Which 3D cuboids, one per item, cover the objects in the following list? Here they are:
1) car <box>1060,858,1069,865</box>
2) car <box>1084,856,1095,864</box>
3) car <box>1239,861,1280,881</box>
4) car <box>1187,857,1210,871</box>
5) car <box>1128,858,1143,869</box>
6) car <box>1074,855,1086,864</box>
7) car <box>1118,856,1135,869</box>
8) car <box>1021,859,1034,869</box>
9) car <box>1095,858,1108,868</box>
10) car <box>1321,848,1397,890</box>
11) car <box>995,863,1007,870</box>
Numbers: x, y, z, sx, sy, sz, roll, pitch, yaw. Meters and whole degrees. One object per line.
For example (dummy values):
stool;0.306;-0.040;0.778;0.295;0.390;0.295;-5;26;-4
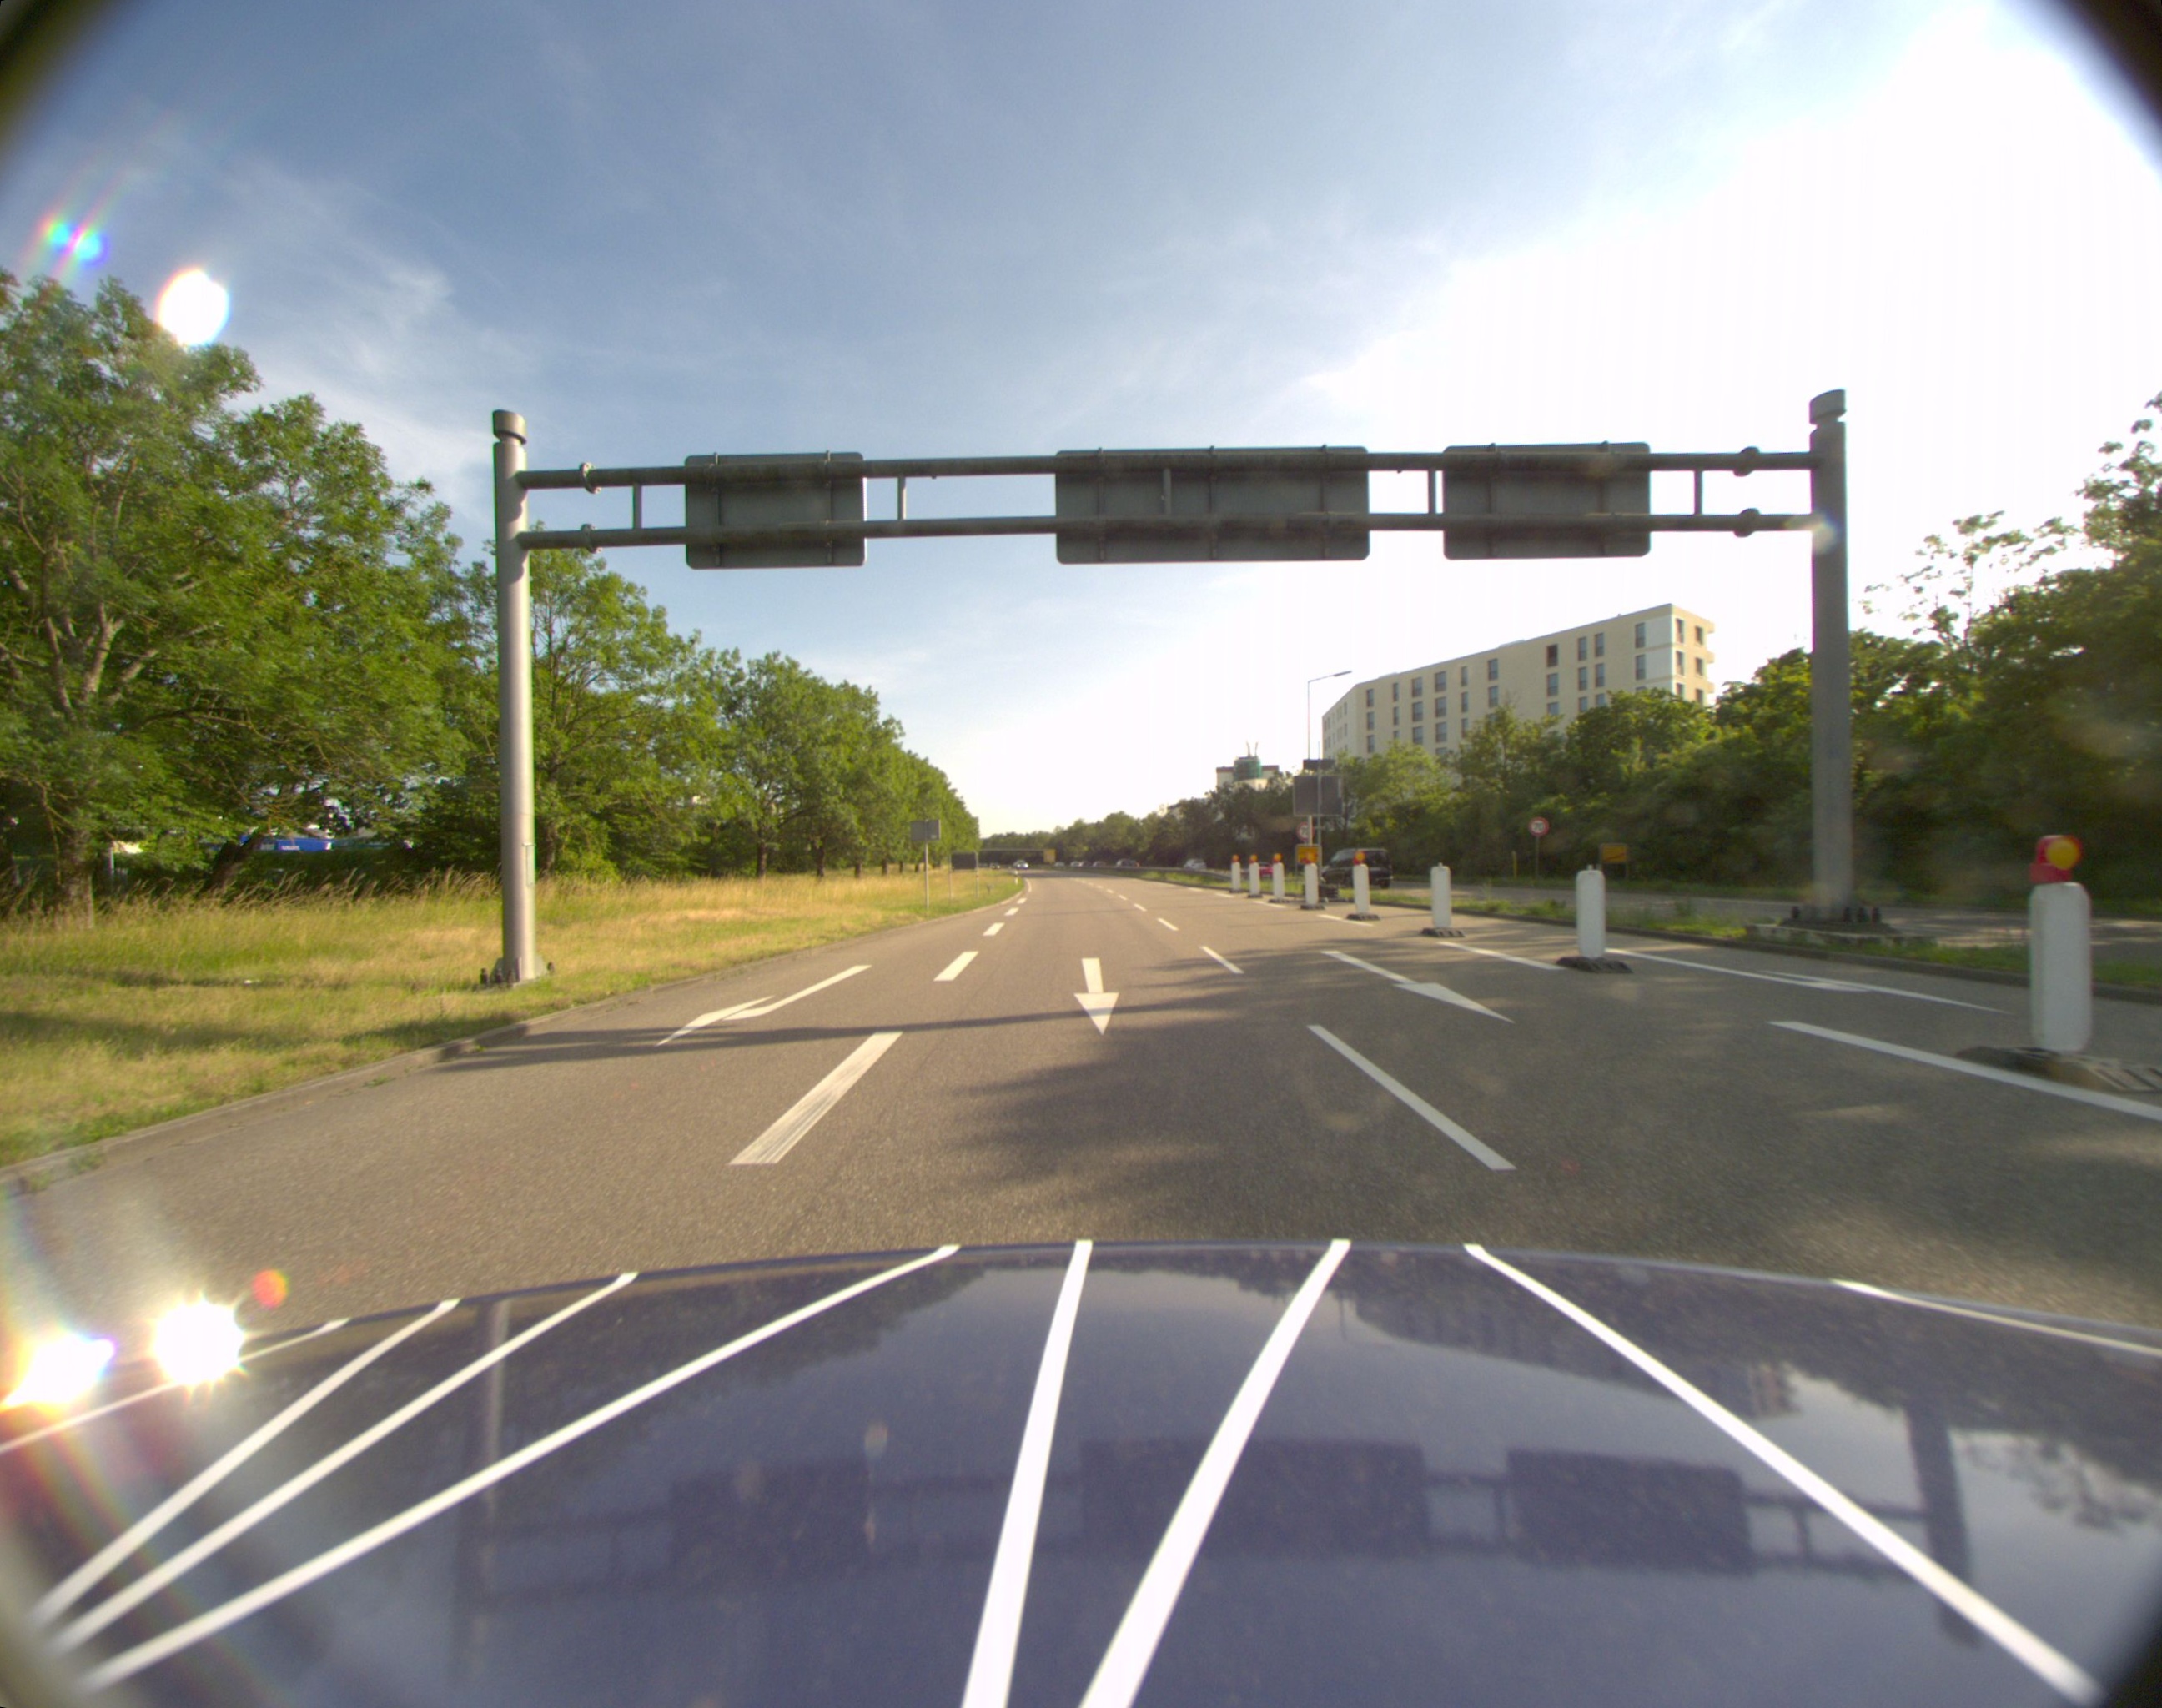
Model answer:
car;-3.741;1.764;176.317;1.608;1.432;3.233;-2;0;-9
car;1.592;1.110;148.741;1.608;1.433;3.234;-2;0;-8
car;11.286;1.057;48.311;1.515;1.151;3.671;-2;0;-4
car;12.528;1.081;81.069;1.644;1.368;4.063;-2;0;-3
car;8.122;1.420;113.613;1.673;1.432;3.938;-2;0;-3
car;-0.189;1.019;137.689;1.608;1.433;3.233;-2;0;-10
car;5.837;1.075;97.792;1.736;1.602;3.522;-2;0;-5
car;-10.624;1.933;150.412;1.903;1.813;4.351;-2;0;-14
car;3.195;1.366;118.103;1.607;1.432;3.235;-2;0;-3
car;12.585;0.661;34.659;1.790;1.796;4.123;-1;0;-2
car;-17.895;2.771;169.568;1.903;1.377;4.351;-2;0;-14
